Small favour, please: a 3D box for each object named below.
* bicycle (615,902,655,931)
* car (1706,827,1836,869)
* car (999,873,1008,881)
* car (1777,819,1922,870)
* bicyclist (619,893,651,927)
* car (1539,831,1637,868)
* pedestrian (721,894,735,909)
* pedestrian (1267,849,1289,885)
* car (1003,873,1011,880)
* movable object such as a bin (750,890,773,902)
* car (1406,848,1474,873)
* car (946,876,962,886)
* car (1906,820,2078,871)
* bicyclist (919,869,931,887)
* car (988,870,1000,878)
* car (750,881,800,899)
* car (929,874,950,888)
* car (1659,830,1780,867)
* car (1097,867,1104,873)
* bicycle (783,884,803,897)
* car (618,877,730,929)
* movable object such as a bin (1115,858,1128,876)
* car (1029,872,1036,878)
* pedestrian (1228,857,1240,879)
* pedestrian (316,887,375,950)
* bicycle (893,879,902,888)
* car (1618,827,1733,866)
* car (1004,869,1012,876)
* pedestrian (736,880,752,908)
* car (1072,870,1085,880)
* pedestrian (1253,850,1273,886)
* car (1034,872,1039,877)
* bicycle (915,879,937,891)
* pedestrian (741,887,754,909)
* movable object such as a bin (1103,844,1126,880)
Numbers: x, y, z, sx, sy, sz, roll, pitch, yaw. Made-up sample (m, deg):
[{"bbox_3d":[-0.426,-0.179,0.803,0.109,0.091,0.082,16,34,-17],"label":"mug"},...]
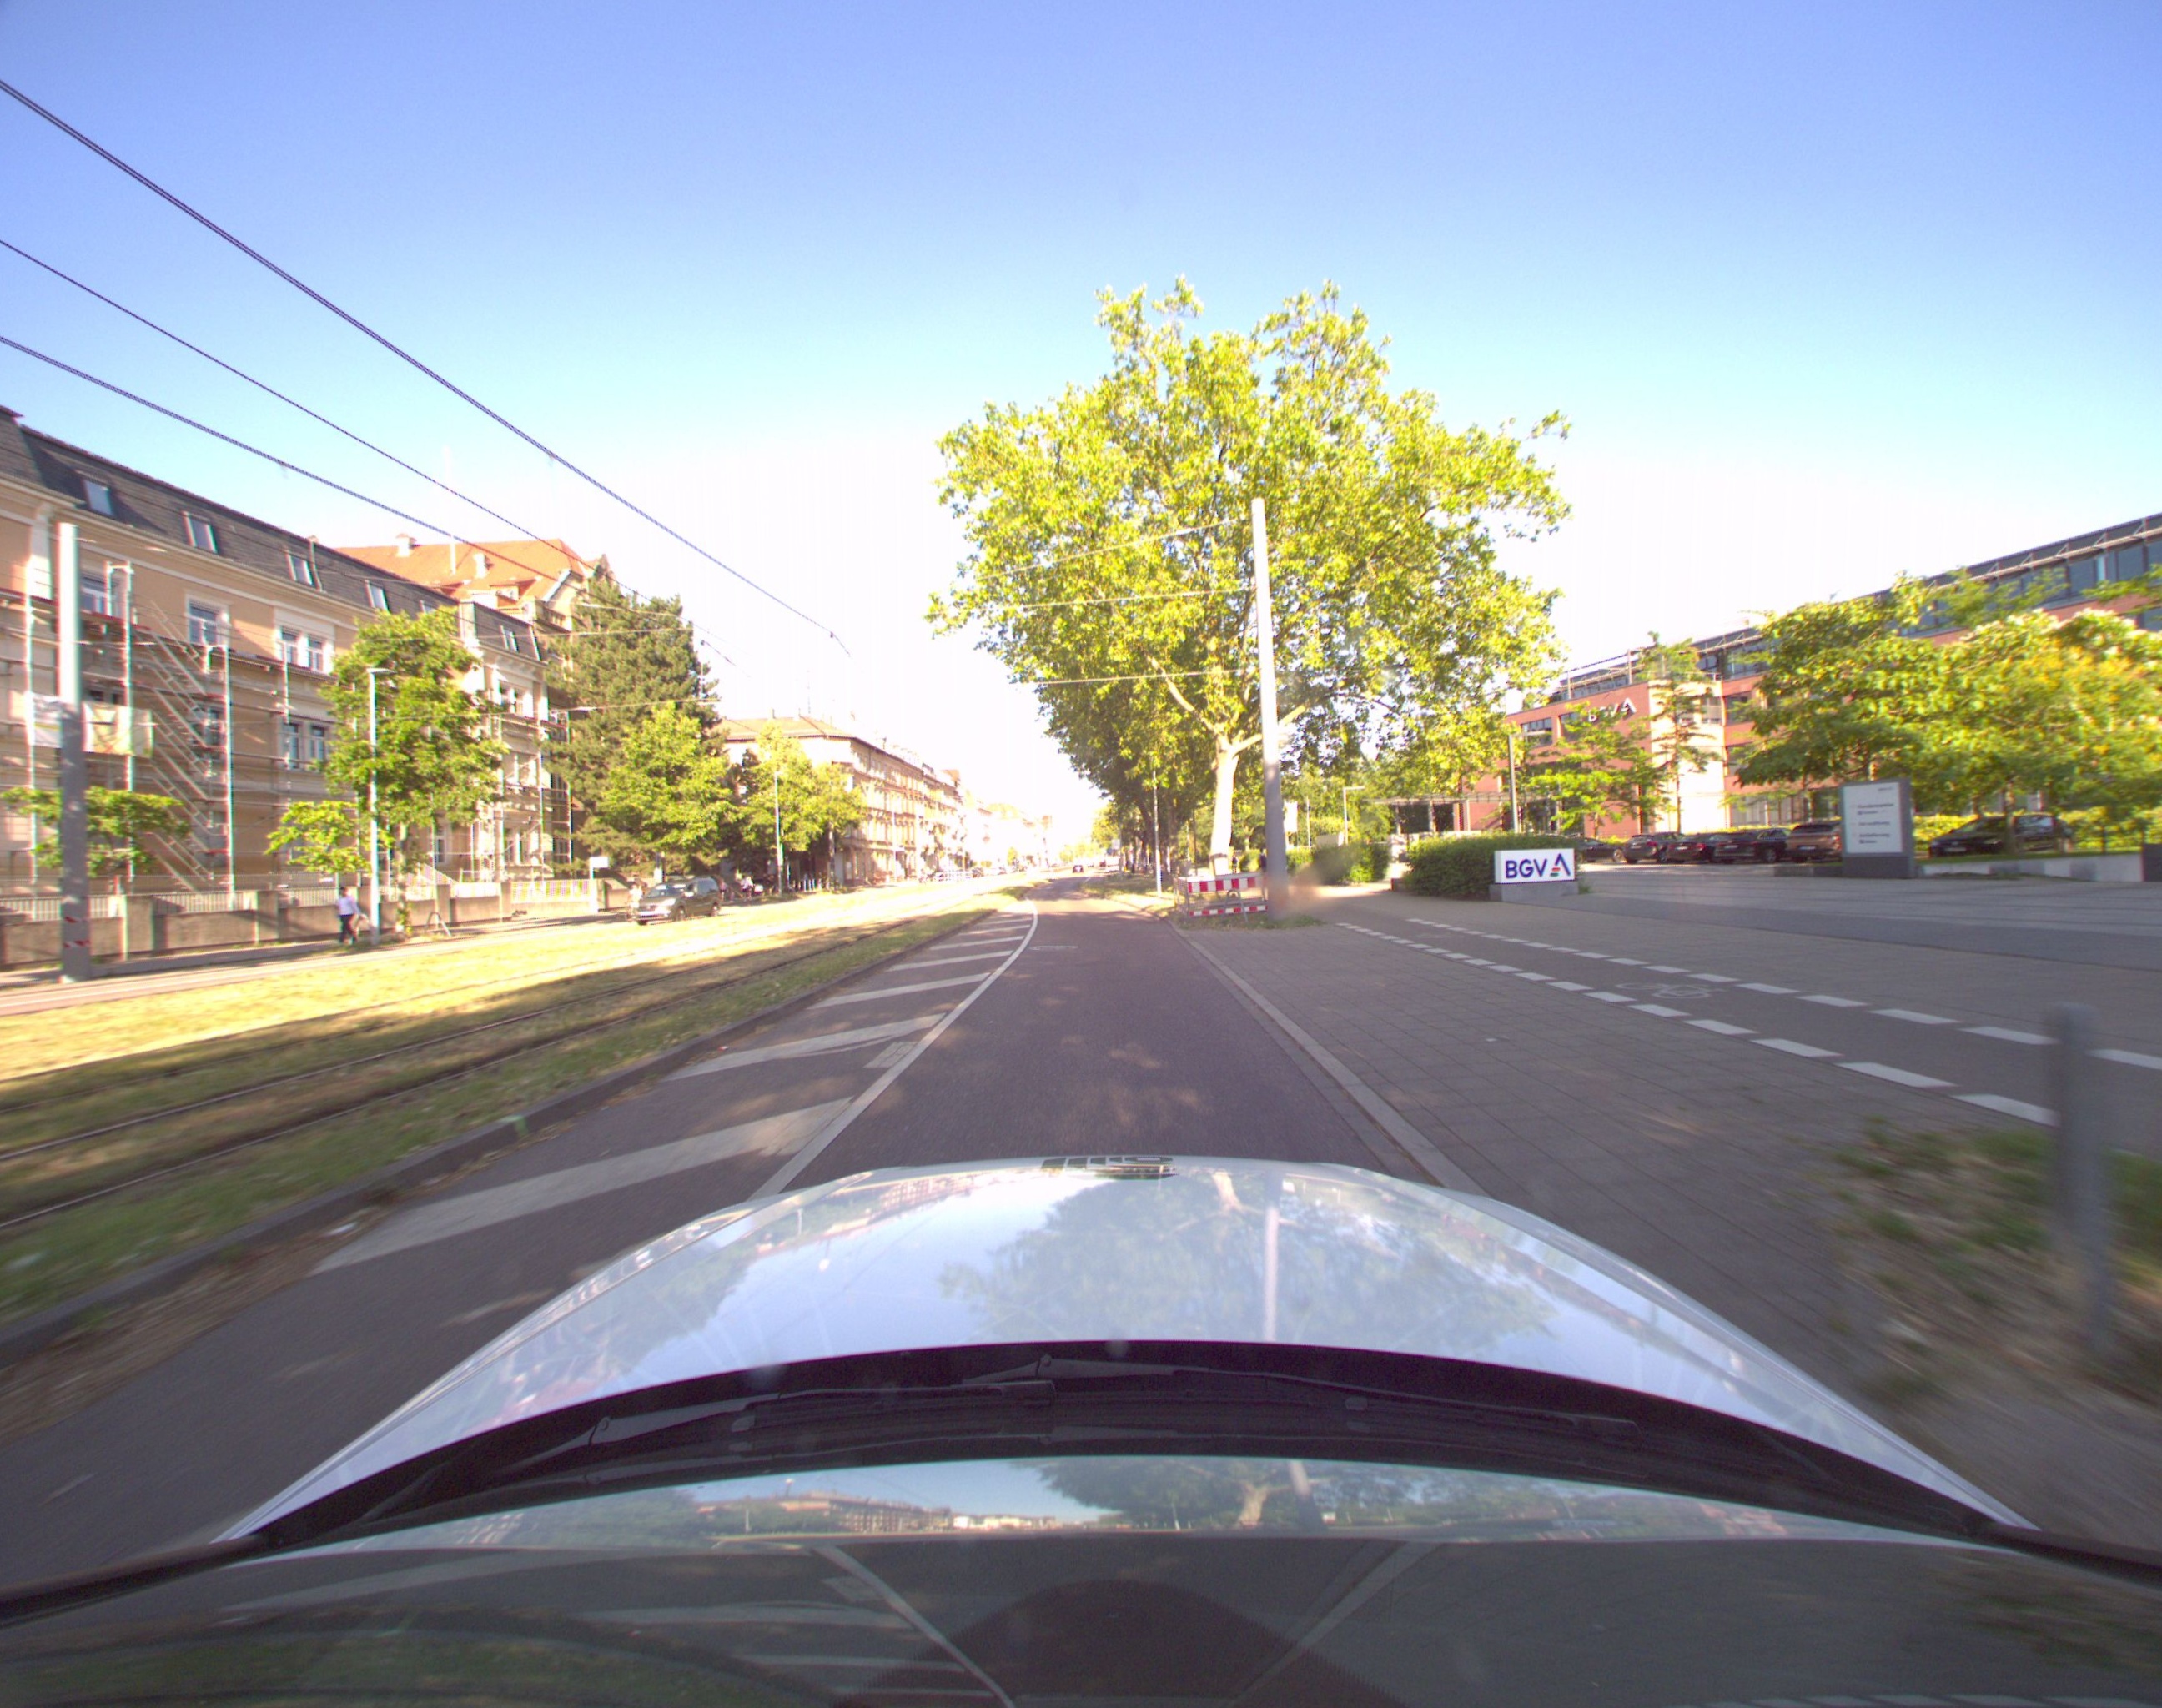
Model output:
[{"bbox_3d":[-19.885,2.790,36.353,0.772,1.193,1.756,0,-1,2],"label":"bicycle"},{"bbox_3d":[29.168,-0.247,34.434,4.683,1.466,1.952,-3,0,-17],"label":"car"},{"bbox_3d":[-16.324,4.784,172.451,1.521,1.561,3.224,0,0,2],"label":"car"},{"bbox_3d":[30.217,-0.361,32.042,4.683,1.713,2.060,-3,0,-17],"label":"car"},{"bbox_3d":[-19.882,2.487,36.309,0.772,1.481,1.134,0,-1,2],"label":"bicyclist"},{"bbox_3d":[27.080,-0.238,43.481,4.685,1.713,1.837,-3,0,-19],"label":"car"},{"bbox_3d":[-23.345,3.129,53.808,0.648,0.932,0.584,-3,-1,-4],"label":"pedestrian"},{"bbox_3d":[10.397,0.693,42.982,0.802,1.793,1.110,-3,-1,2],"label":"pedestrian"},{"bbox_3d":[-16.251,4.914,178.988,1.521,1.561,3.224,0,0,2],"label":"car"},{"bbox_3d":[-24.431,3.183,62.266,1.241,0.865,1.236,0,-2,0],"label":"movable object such as a bin"},{"bbox_3d":[25.742,0.457,58.428,4.173,1.507,1.987,-3,0,-19],"label":"car"},{"bbox_3d":[-18.947,4.061,121.612,1.770,1.406,3.910,0,0,2],"label":"car"},{"bbox_3d":[30.540,-0.287,27.325,4.682,1.485,2.060,-2,0,-17],"label":"car"},{"bbox_3d":[-15.785,2.412,82.364,0.926,1.715,0.759,-3,2,-33],"label":"bicyclist"},{"bbox_3d":[-17.322,3.965,162.172,1.735,1.561,3.769,0,0,2],"label":"car"},{"bbox_3d":[-26.986,3.158,71.813,4.138,1.471,2.012,-2,-2,30],"label":"car"},{"bbox_3d":[-19.441,3.688,111.948,2.008,1.754,4.559,0,0,2],"label":"car"},{"bbox_3d":[28.766,-0.248,36.710,4.683,1.383,1.962,-3,0,-17],"label":"car"},{"bbox_3d":[6.055,4.936,253.697,1.990,1.860,3.993,0,-1,-4],"label":"car"},{"bbox_3d":[-28.227,3.550,79.877,0.779,1.179,2.248,0,-1,14],"label":"bicycle"},{"bbox_3d":[-16.580,1.952,33.459,1.928,1.919,4.481,-2,-1,7],"label":"car"},{"bbox_3d":[7.322,2.426,147.647,1.961,3.013,4.797,-5,-1,1],"label":"movable object such as a bin"},{"bbox_3d":[-13.535,5.809,227.896,1.521,1.561,3.224,0,0,2],"label":"car"},{"bbox_3d":[11.023,1.025,58.637,0.647,1.539,0.783,-3,-1,2],"label":"pedestrian"},{"bbox_3d":[-23.848,2.072,26.429,0.855,1.928,1.086,-3,-1,1],"label":"pedestrian"},{"bbox_3d":[-23.288,3.731,103.453,0.696,1.181,1.752,0,-1,2],"label":"bicycle"},{"bbox_3d":[28.694,-0.342,39.361,4.683,1.598,2.060,-3,0,-17],"label":"car"},{"bbox_3d":[-16.427,4.169,182.952,1.521,1.561,3.224,0,0,2],"label":"car"},{"bbox_3d":[-22.606,2.683,54.650,0.647,1.775,0.888,-3,-1,1],"label":"pedestrian"},{"bbox_3d":[-0.363,3.567,138.969,1.986,1.684,4.002,0,-1,2],"label":"car"},{"bbox_3d":[9.542,0.743,42.813,0.747,1.793,1.087,-3,-1,2],"label":"pedestrian"},{"bbox_3d":[-13.691,6.225,250.703,1.521,1.561,3.224,0,0,2],"label":"car"},{"bbox_3d":[-15.688,3.146,82.449,1.967,1.040,0.759,-3,2,-33],"label":"bicycle"},{"bbox_3d":[-25.028,3.277,61.163,0.616,1.593,0.797,0,-1,0],"label":"pedestrian"},{"bbox_3d":[5.101,1.264,125.539,3.076,5.088,8.894,-5,-1,2],"label":"movable object such as a bin"}]
